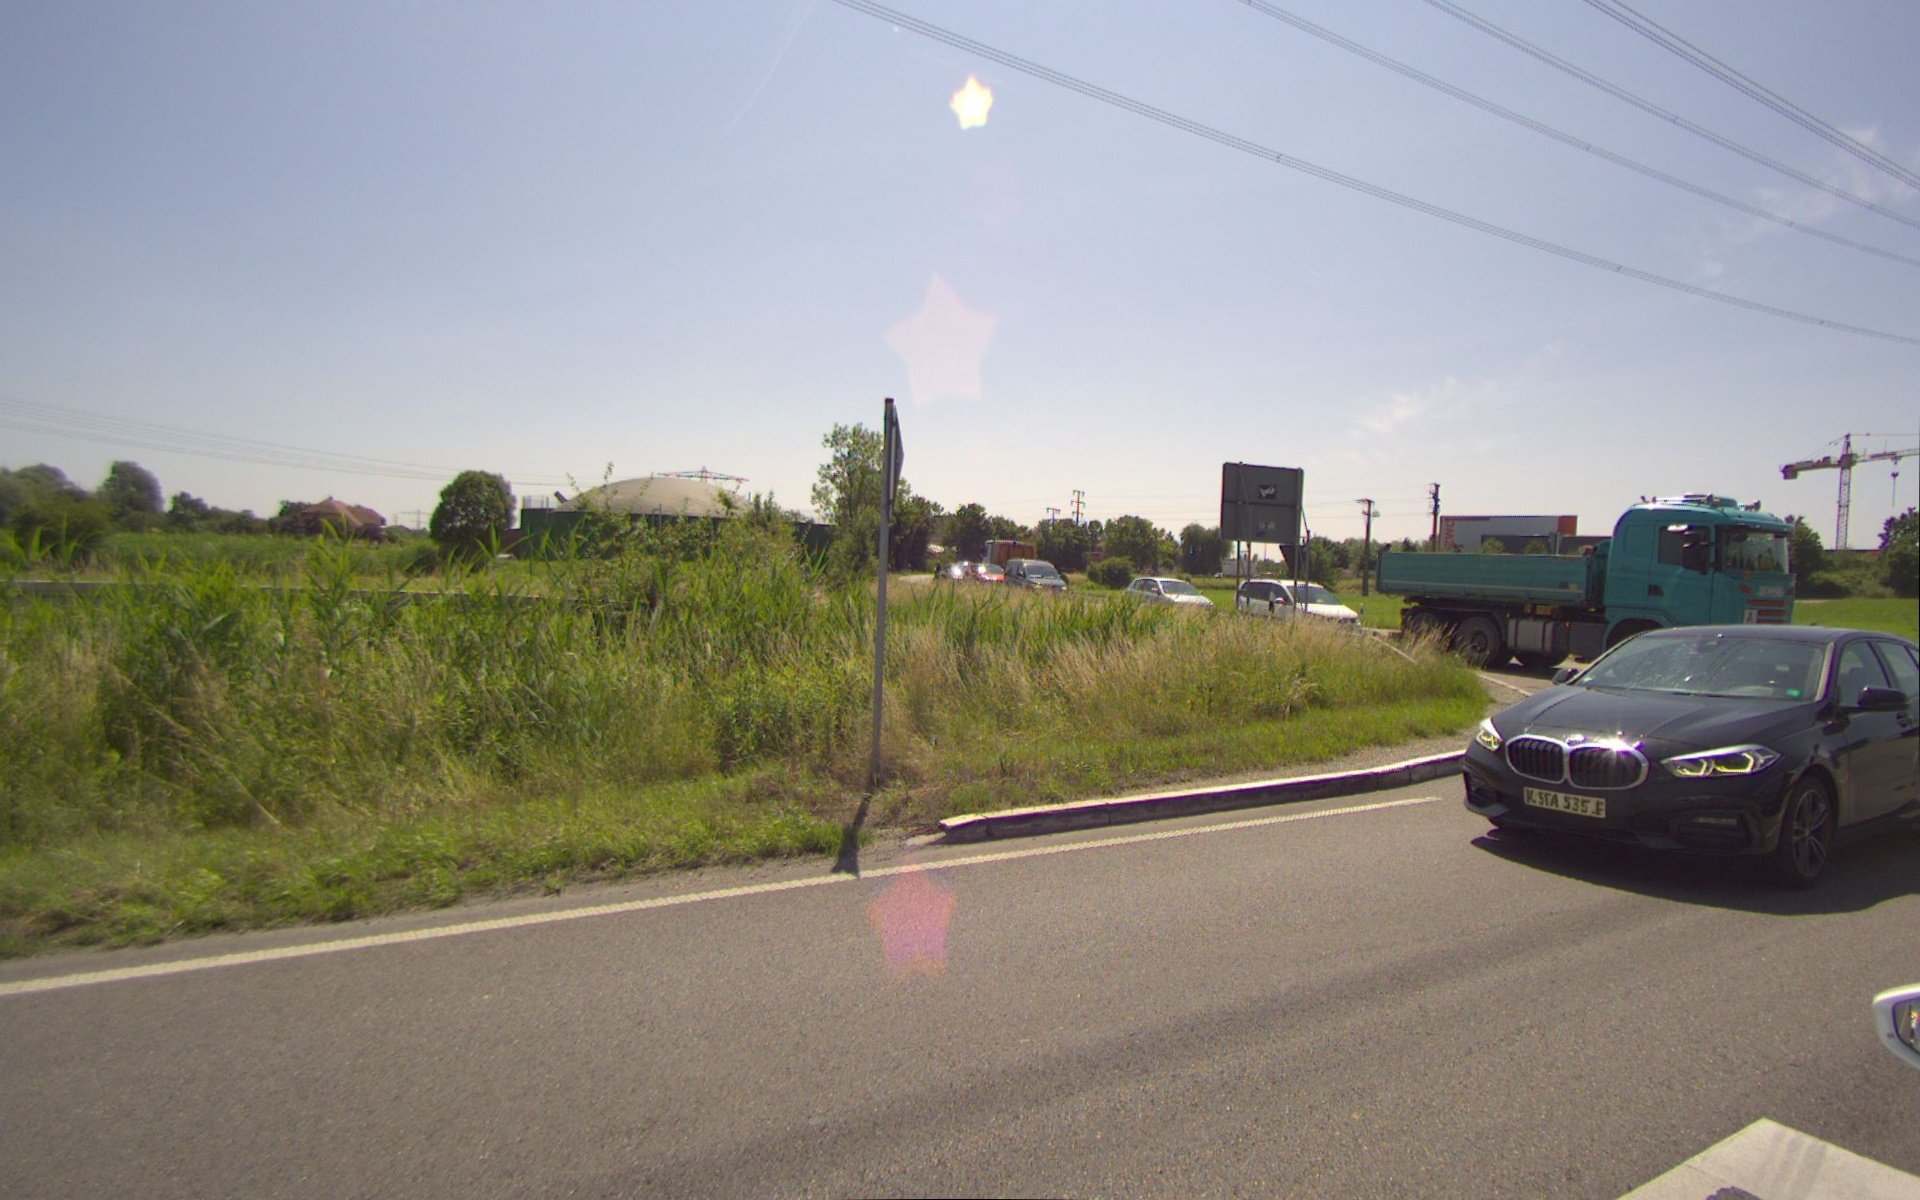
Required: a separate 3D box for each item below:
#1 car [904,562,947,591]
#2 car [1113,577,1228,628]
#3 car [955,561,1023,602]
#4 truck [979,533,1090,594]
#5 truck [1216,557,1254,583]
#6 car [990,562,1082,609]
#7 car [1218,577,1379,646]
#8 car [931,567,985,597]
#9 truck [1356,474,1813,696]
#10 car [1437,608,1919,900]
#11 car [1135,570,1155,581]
[{"bbox_3d":[-2.174,-1.418,62.281,1.965,1.691,3.990,1,1,-12],"label":"car"},{"bbox_3d":[6.914,0.030,33.436,1.691,1.490,4.427,1,1,-19],"label":"car"},{"bbox_3d":[1.381,-0.970,50.098,1.886,1.874,4.463,1,2,-19],"label":"car"},{"bbox_3d":[4.278,-2.107,60.631,2.788,3.332,9.650,1,1,-22],"label":"truck"},{"bbox_3d":[56.518,-6.102,206.461,3.626,4.708,13.205,3,1,33],"label":"truck"},{"bbox_3d":[3.216,-0.686,43.620,2.057,1.893,4.927,0,2,-21],"label":"car"},{"bbox_3d":[9.166,0.248,27.661,1.935,1.634,4.540,2,2,-15],"label":"car"},{"bbox_3d":[-0.153,-1.039,55.839,1.754,1.498,3.982,1,2,-19],"label":"car"},{"bbox_3d":[12.483,-0.439,21.186,2.466,3.785,7.873,1,3,-27],"label":"truck"},{"bbox_3d":[5.308,0.830,6.920,3.954,1.483,1.773,1,-1,-31],"label":"car"},{"bbox_3d":[30.564,-3.976,165.841,1.965,1.702,3.991,2,1,31],"label":"car"}]
